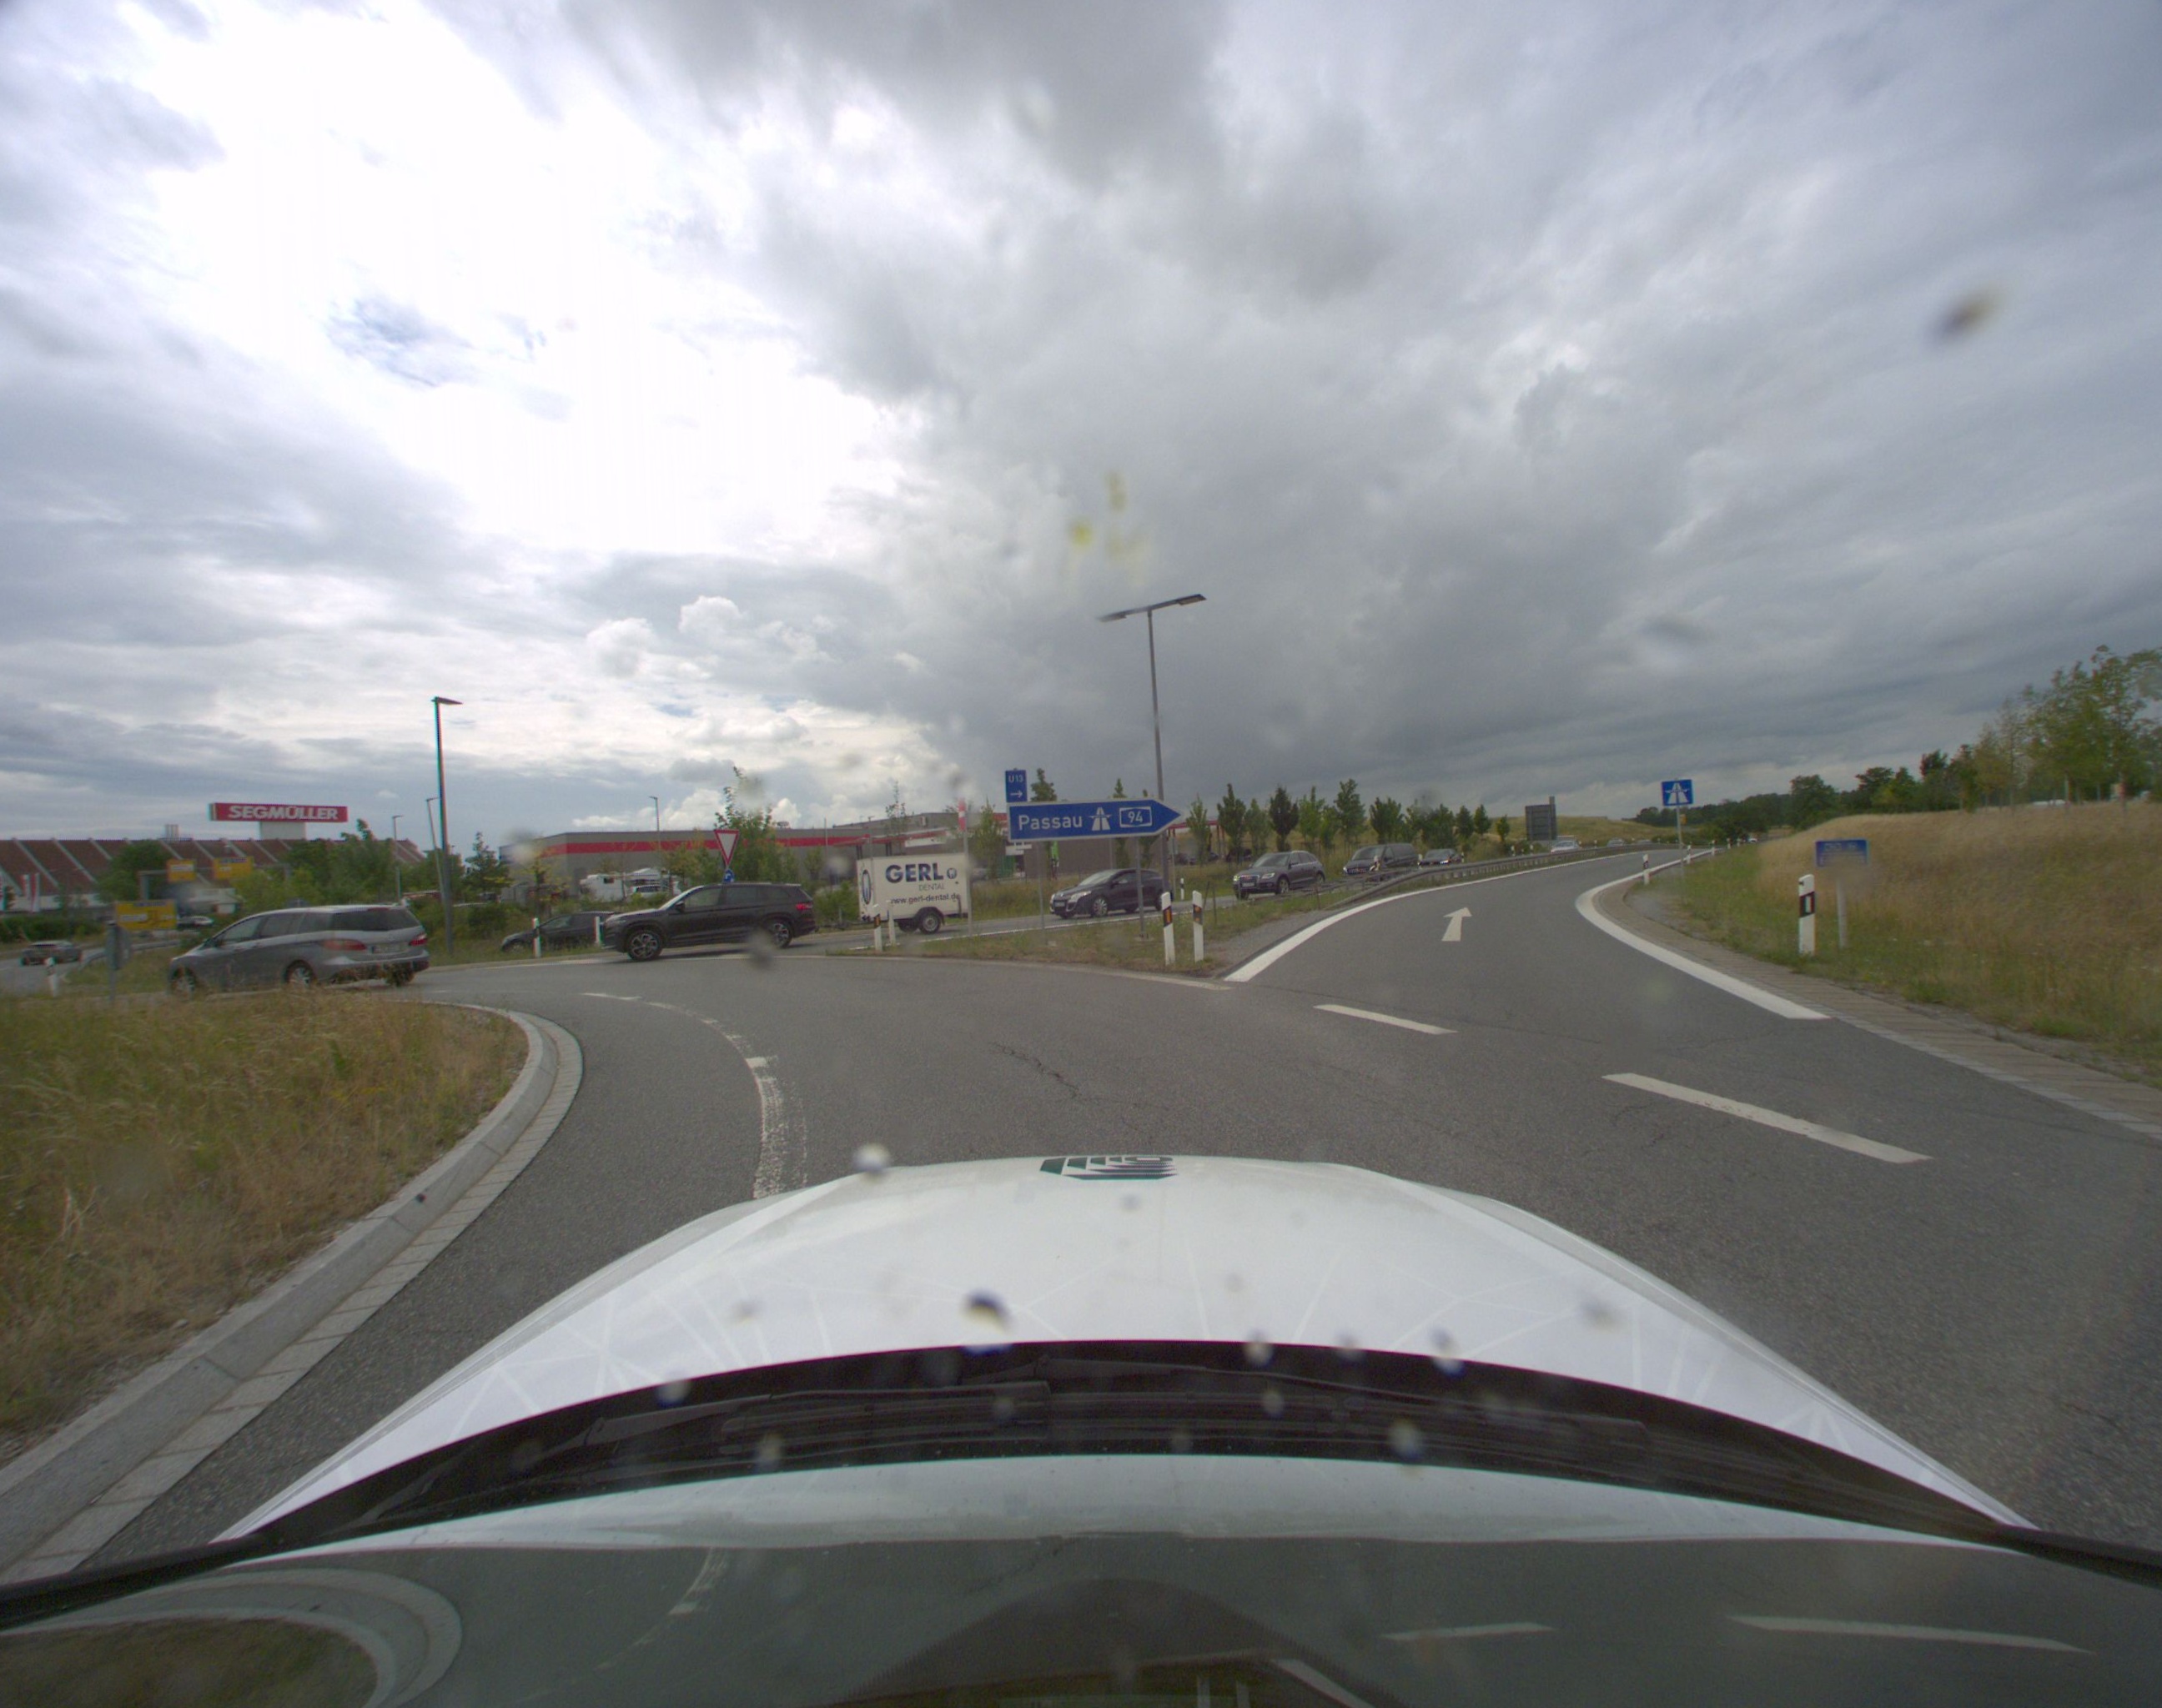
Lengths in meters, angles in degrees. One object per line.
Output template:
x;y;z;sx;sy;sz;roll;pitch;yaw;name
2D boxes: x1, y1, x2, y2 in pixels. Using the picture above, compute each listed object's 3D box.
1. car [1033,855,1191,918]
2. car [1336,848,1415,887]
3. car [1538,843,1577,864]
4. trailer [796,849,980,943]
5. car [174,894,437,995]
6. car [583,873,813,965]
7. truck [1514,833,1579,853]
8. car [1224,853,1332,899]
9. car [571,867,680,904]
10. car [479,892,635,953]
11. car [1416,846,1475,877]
1.021;0.980;25.387;4.612;1.684;1.978;-2;-3;-35;car
14.215;0.628;39.184;1.974;1.684;4.620;-5;-3;41;car
40.668;-0.060;69.449;1.974;1.684;4.620;-5;-3;41;car
-5.130;1.031;21.796;4.385;2.184;1.981;-2;0;-30;trailer
-14.539;1.682;15.319;3.954;1.598;1.751;-3;1;16;car
-8.998;1.451;19.439;4.692;1.760;1.983;-2;-1;-26;car
126.457;-3.017;221.496;15.130;4.961;3.471;-2;0;32;truck
7.374;0.778;30.180;4.569;1.491;1.714;-2;0;-45;car
-38.954;2.614;69.880;2.439;2.820;7.738;-2;0;39;car
-17.285;2.249;26.997;3.977;1.750;1.655;-2;0;-3;car
22.226;0.430;49.573;1.974;1.684;4.620;-5;-3;41;car
